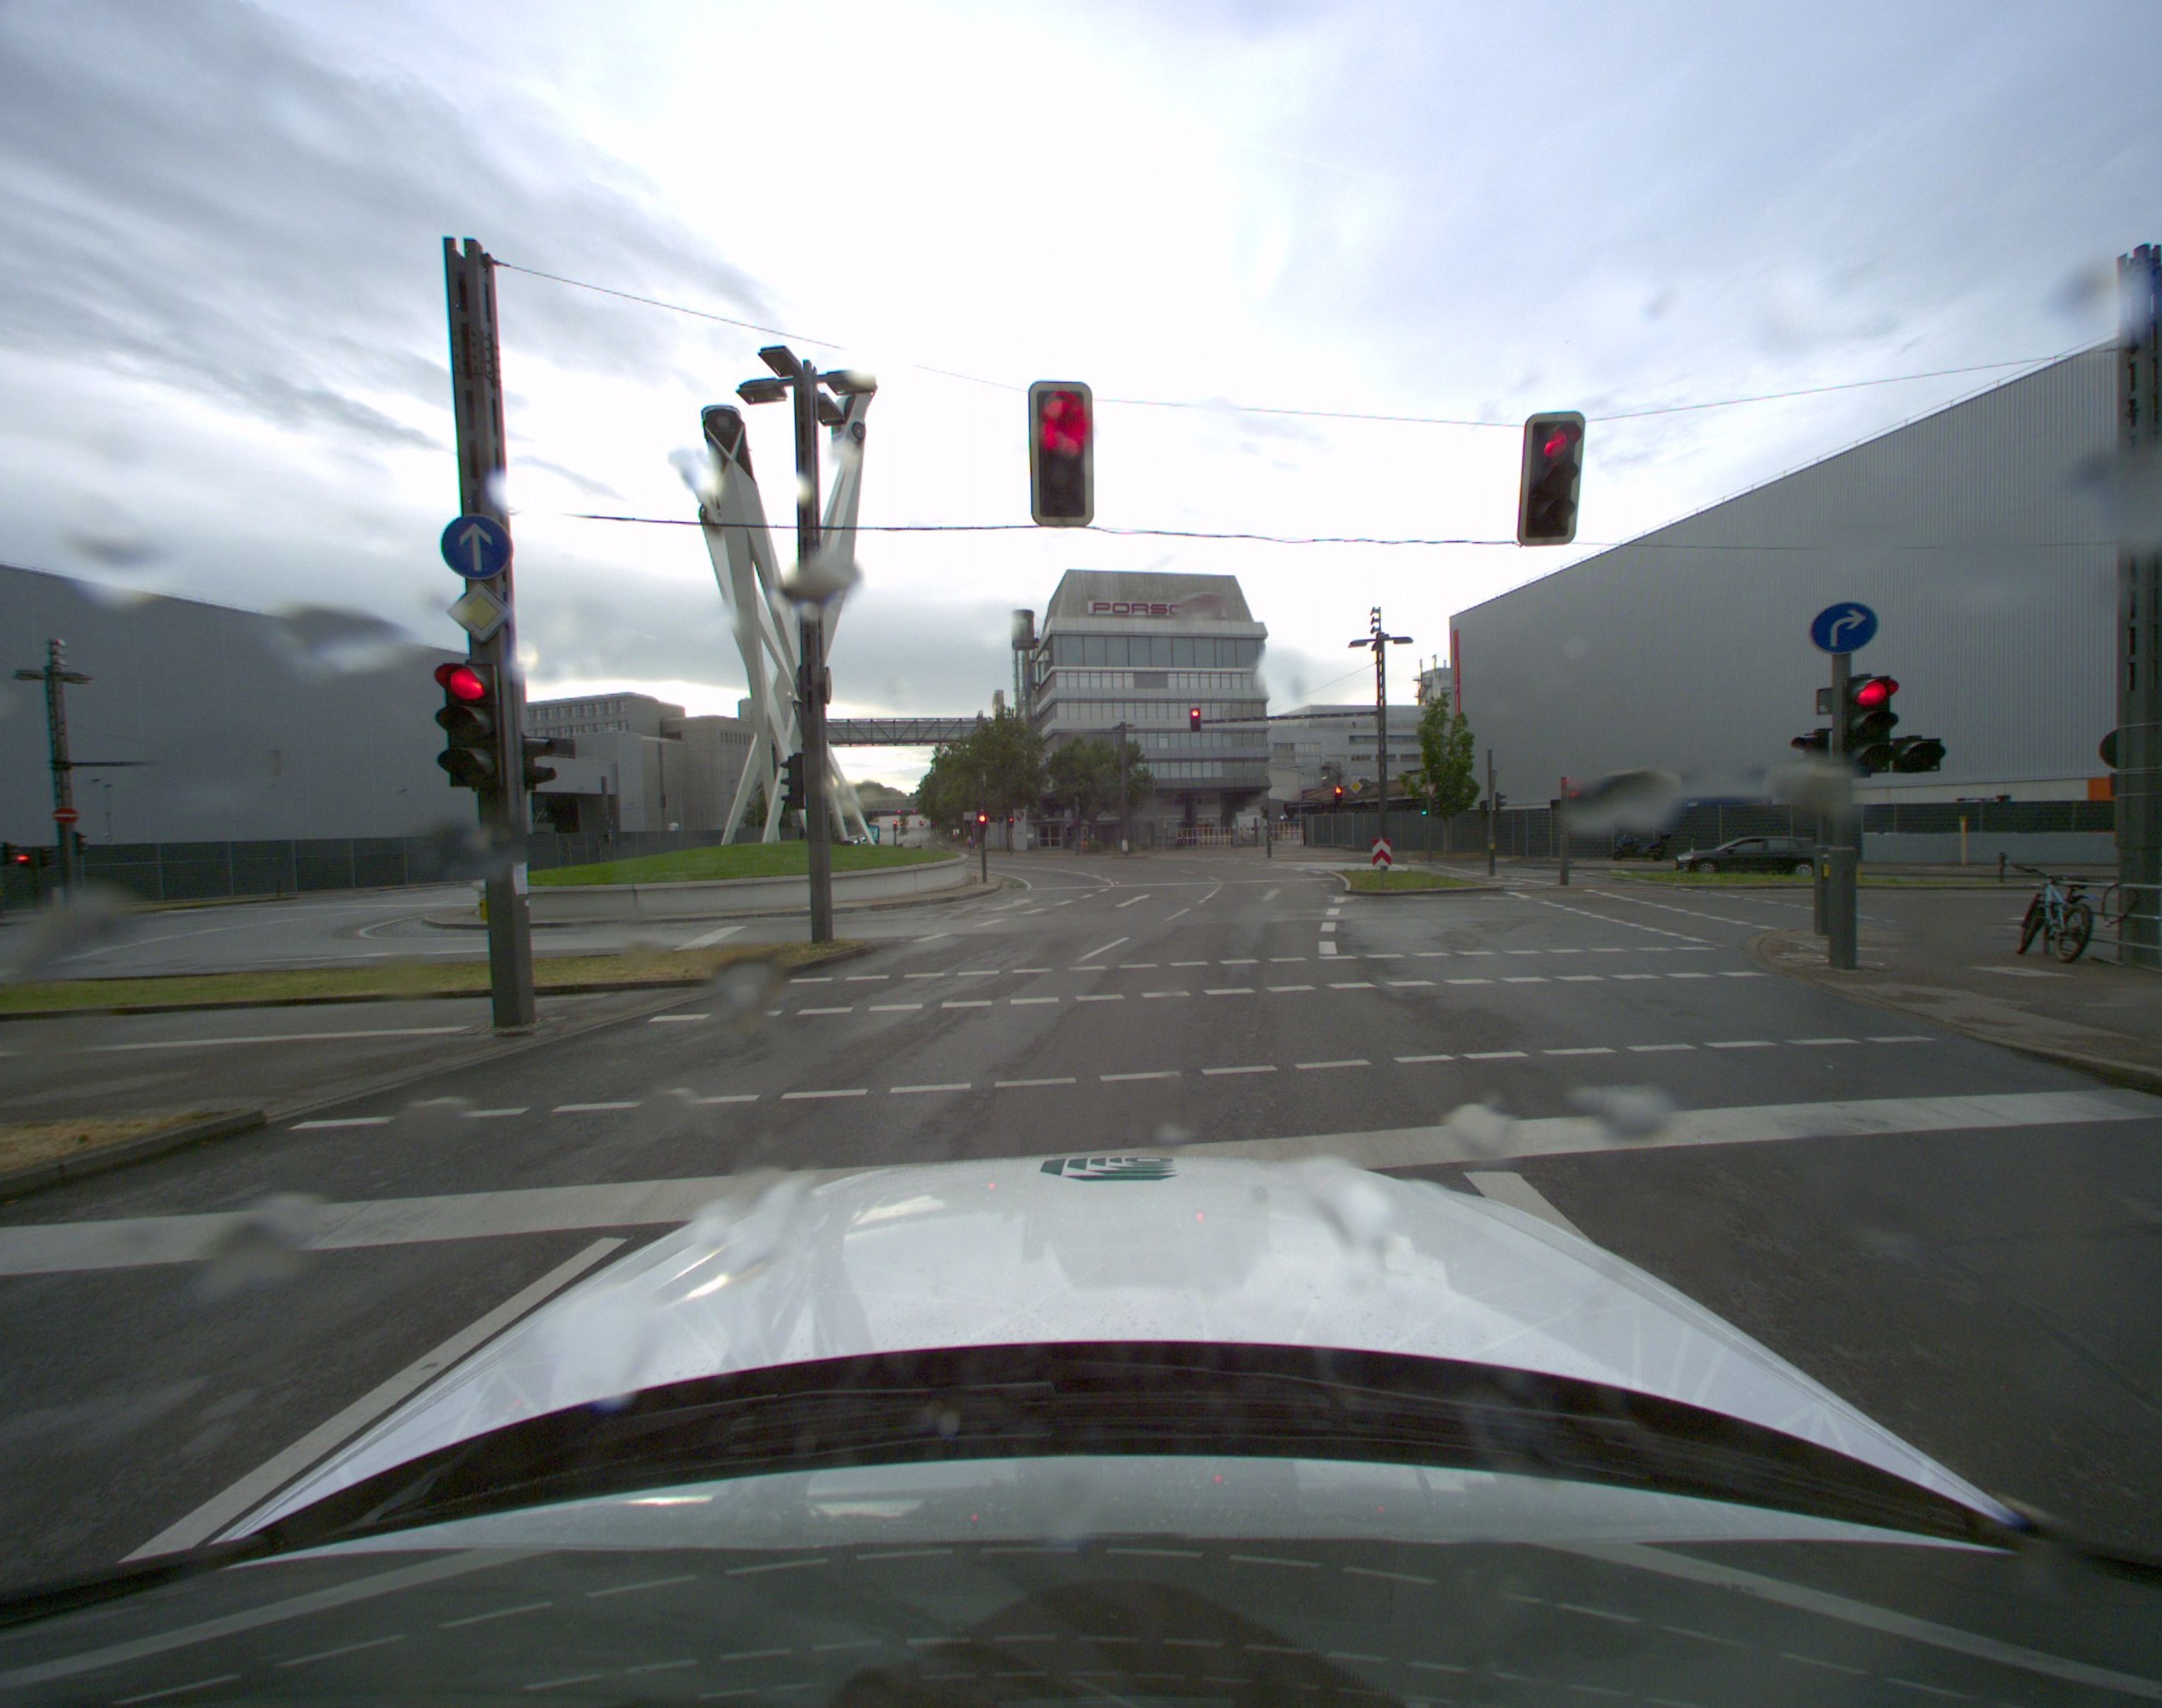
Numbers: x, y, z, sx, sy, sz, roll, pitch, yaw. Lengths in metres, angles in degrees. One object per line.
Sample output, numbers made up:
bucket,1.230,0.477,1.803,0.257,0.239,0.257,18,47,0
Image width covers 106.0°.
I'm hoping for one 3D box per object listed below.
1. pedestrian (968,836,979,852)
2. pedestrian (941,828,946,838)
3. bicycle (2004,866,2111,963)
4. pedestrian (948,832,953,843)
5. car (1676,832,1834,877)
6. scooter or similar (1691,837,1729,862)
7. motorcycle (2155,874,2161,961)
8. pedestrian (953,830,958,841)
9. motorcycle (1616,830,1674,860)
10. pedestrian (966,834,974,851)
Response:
pedestrian,-10.341,-1.007,78.559,0.834,1.520,0.836,-3,2,-18
pedestrian,-28.173,-4.272,166.933,0.761,2.013,0.693,-1,1,5
bicycle,12.569,0.727,10.533,0.416,1.130,2.086,-1,-1,37
pedestrian,-20.267,-2.618,126.840,0.712,1.740,0.757,0,-1,-12
car,22.837,-0.013,27.797,3.949,1.425,1.732,0,1,31
scooter or similar,27.553,-0.208,35.683,0.387,1.028,1.259,-2,2,-29
motorcycle,15.149,0.820,10.305,2.074,1.145,0.490,0,-1,11
pedestrian,-20.160,-2.952,130.959,0.757,1.740,0.712,0,-1,-8
motorcycle,25.580,-0.410,36.958,2.074,1.310,0.659,0,2,27
pedestrian,-10.894,-1.157,79.993,0.710,1.591,0.837,-2,2,-14
